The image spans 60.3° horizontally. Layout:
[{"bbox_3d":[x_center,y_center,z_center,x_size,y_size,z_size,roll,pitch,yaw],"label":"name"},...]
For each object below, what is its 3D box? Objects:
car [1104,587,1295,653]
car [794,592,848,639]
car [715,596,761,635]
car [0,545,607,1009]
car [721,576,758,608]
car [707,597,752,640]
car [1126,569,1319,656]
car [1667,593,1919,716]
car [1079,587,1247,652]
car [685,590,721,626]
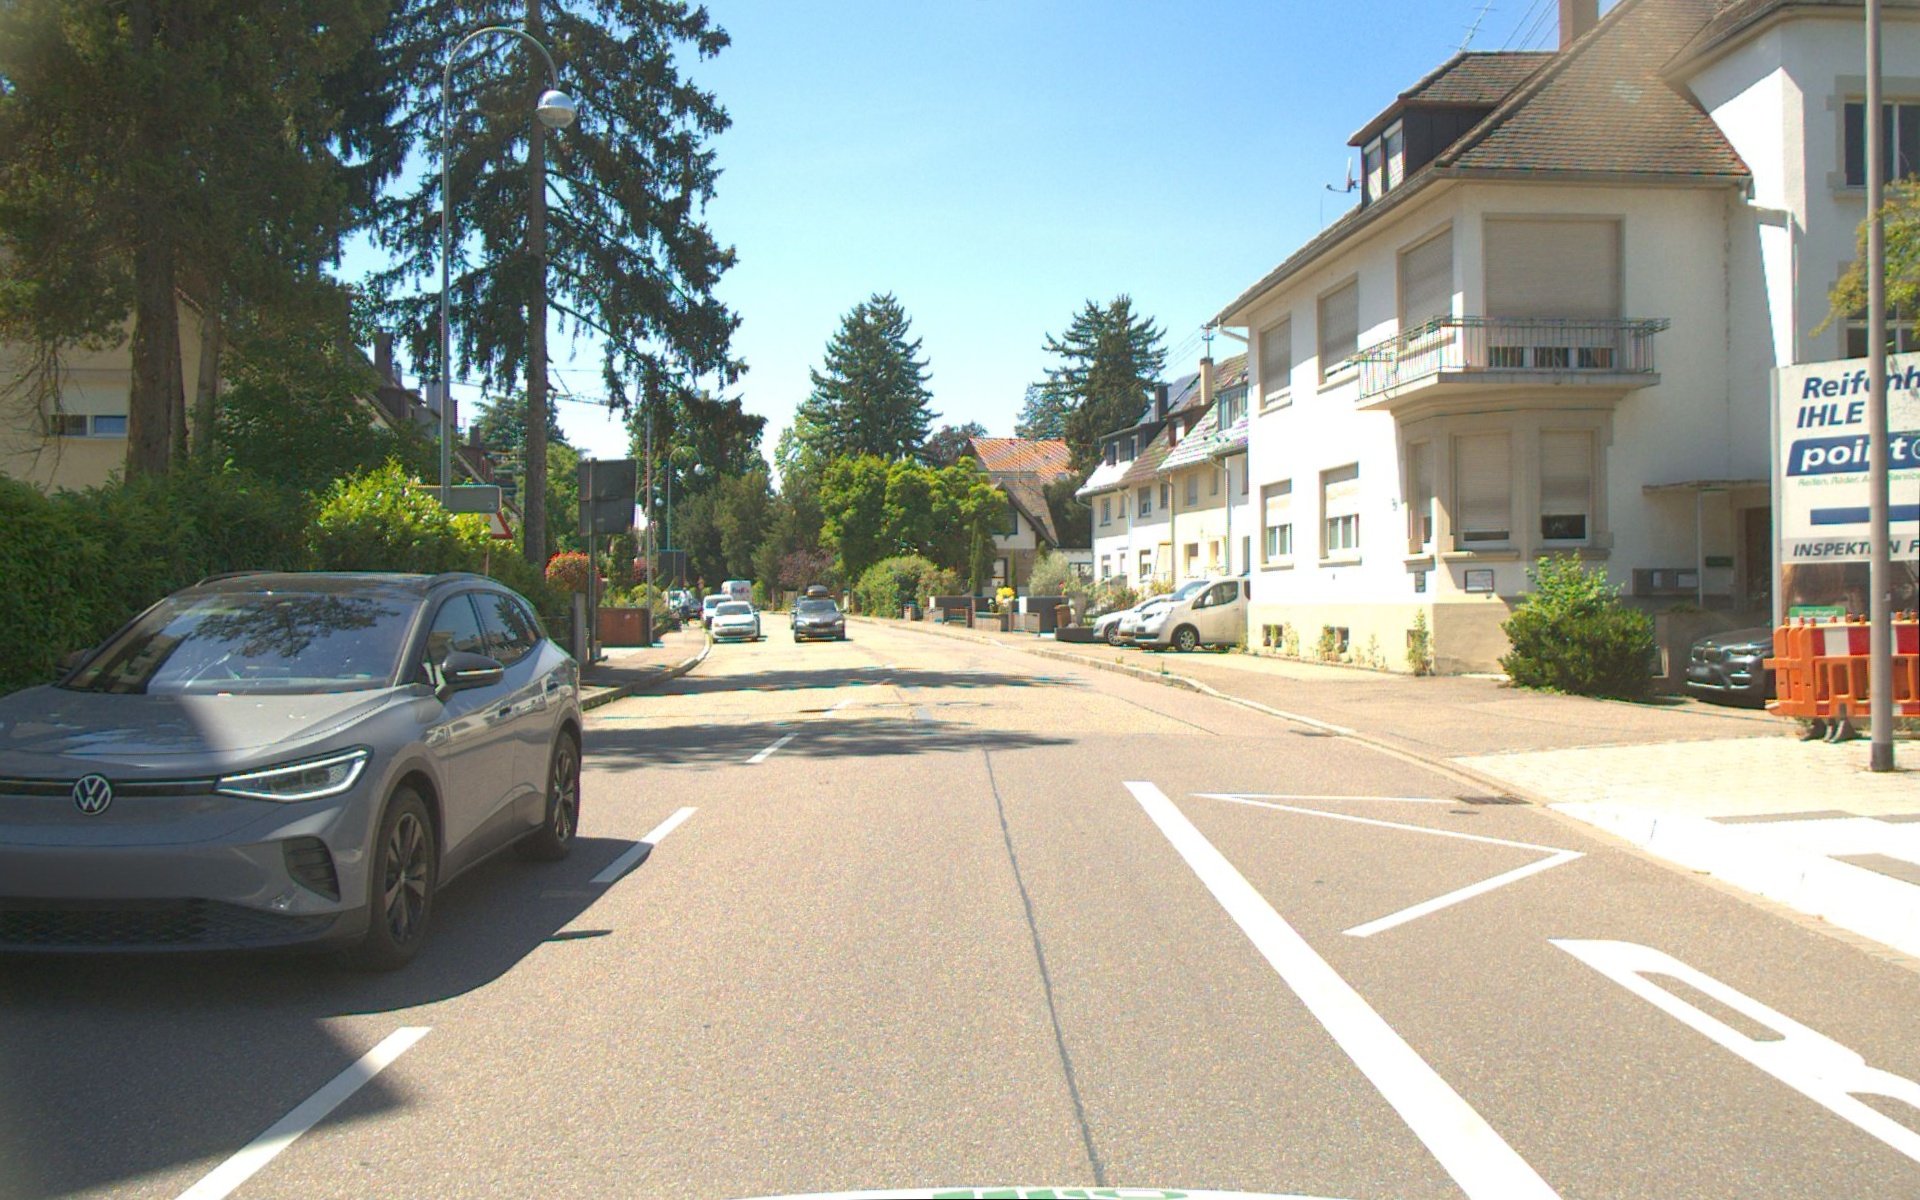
[{"bbox_3d":[6.129,0.507,42.631,4.550,1.433,1.767,3,0,-6],"label":"car"},{"bbox_3d":[-4.940,0.524,58.268,1.771,1.514,4.381,-2,1,-6],"label":"car"},{"bbox_3d":[-9.034,0.602,67.143,1.736,1.464,4.354,-2,1,-8],"label":"car"},{"bbox_3d":[-3.095,0.630,8.054,1.815,1.645,4.296,1,0,0],"label":"car"},{"bbox_3d":[-17.223,-0.630,129.100,2.109,2.356,4.831,-2,1,-16],"label":"car"},{"bbox_3d":[-8.550,0.652,61.200,1.549,1.448,3.933,-2,1,-8],"label":"car"},{"bbox_3d":[6.333,0.299,39.955,4.219,1.863,1.732,3,0,-15],"label":"car"},{"bbox_3d":[12.528,0.783,23.806,3.909,1.620,1.796,2,0,-5],"label":"car"},{"bbox_3d":[5.571,0.537,45.419,4.206,1.575,1.755,2,-1,25],"label":"car"},{"bbox_3d":[-13.336,0.392,85.708,1.692,1.766,3.877,-2,0,-11],"label":"car"}]
